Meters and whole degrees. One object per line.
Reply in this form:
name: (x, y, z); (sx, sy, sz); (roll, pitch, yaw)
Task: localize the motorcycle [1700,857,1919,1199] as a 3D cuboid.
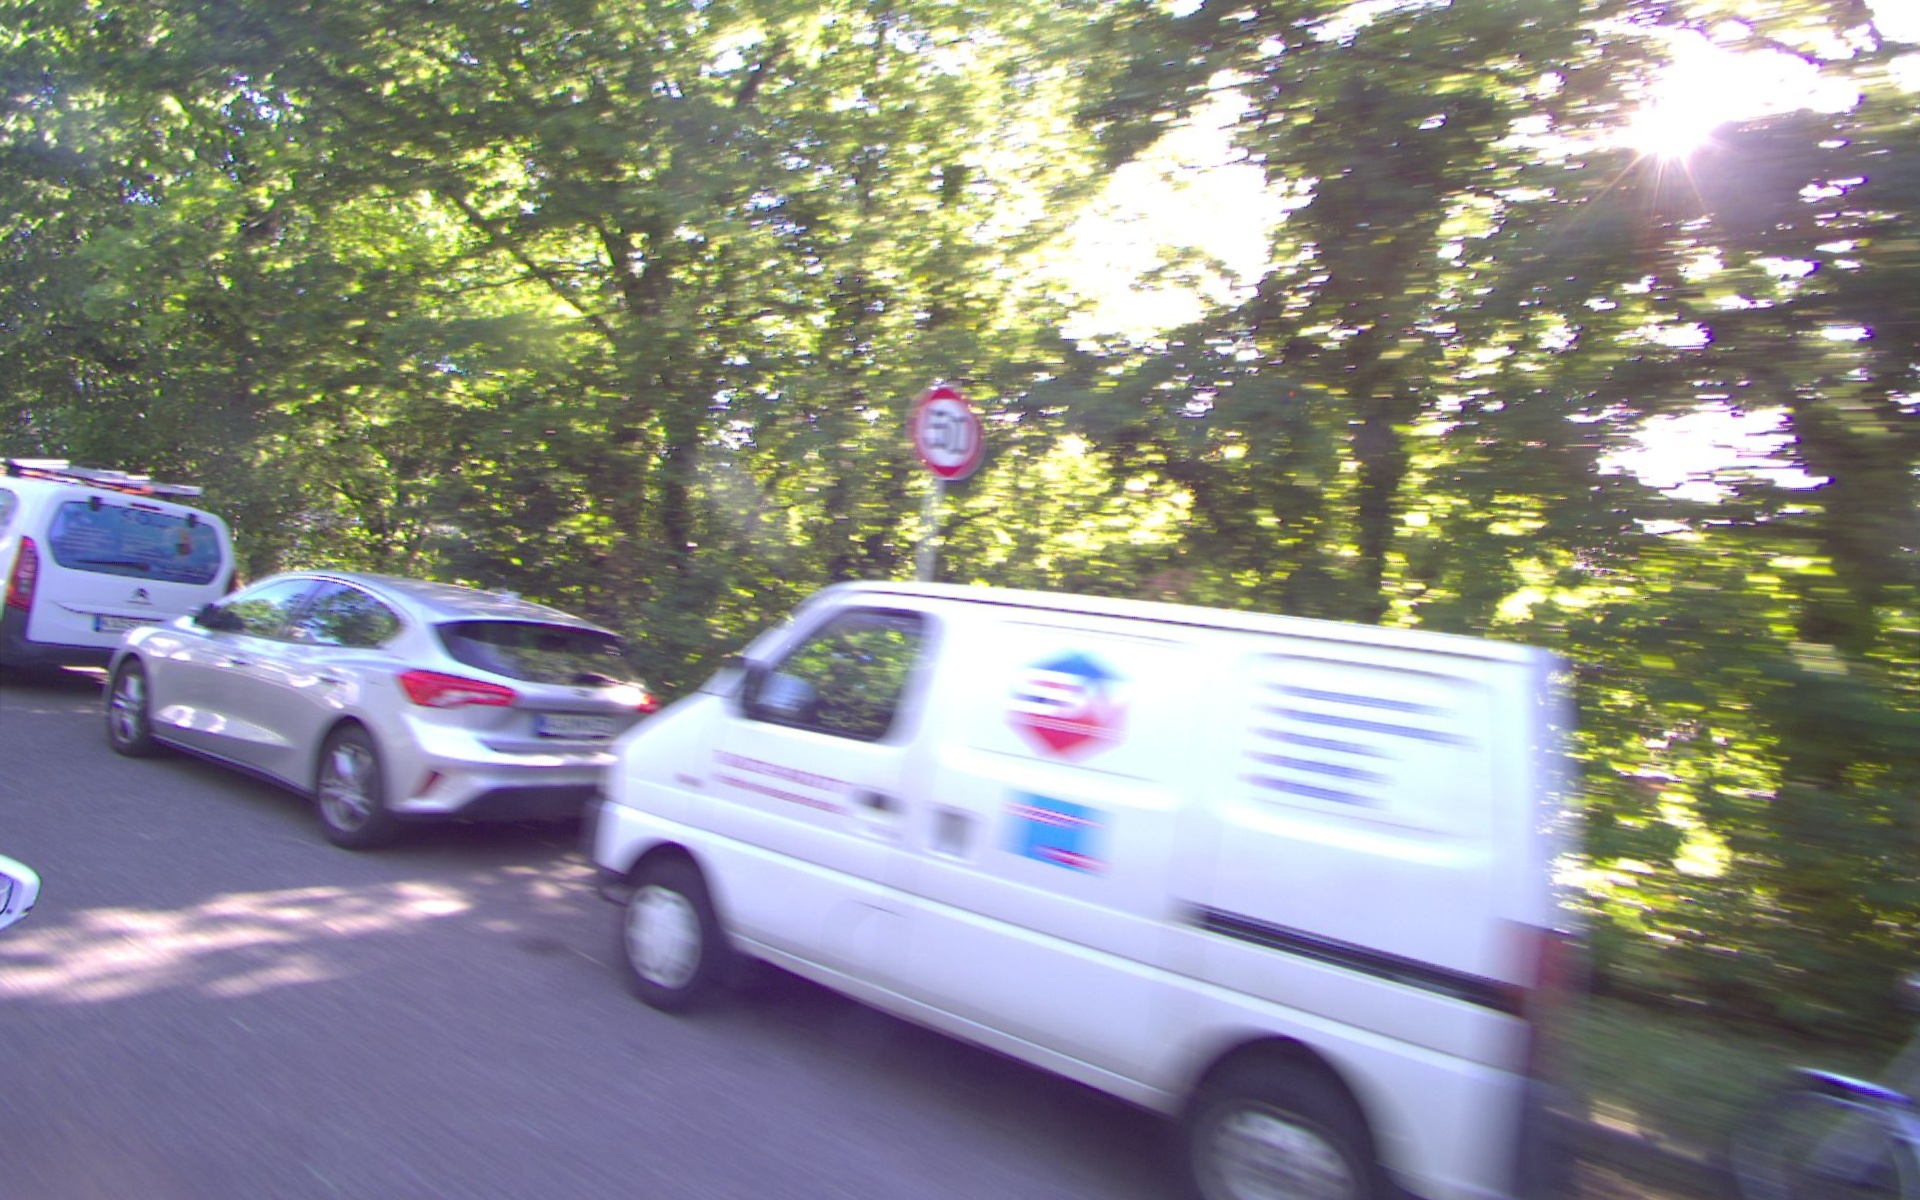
motorcycle: (3.412, 1.584, 2.814); (2.001, 1.209, 0.649); (7, -3, 32)

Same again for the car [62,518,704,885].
car: (-3.910, 0.514, 6.656); (4.135, 1.528, 1.697); (7, -4, 30)

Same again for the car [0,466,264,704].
car: (-9.075, -0.277, 9.691); (4.477, 1.804, 1.798); (7, -3, 27)

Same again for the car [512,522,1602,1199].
car: (0.228, 0.855, 3.950); (3.607, 1.792, 1.628); (7, -3, 30)
